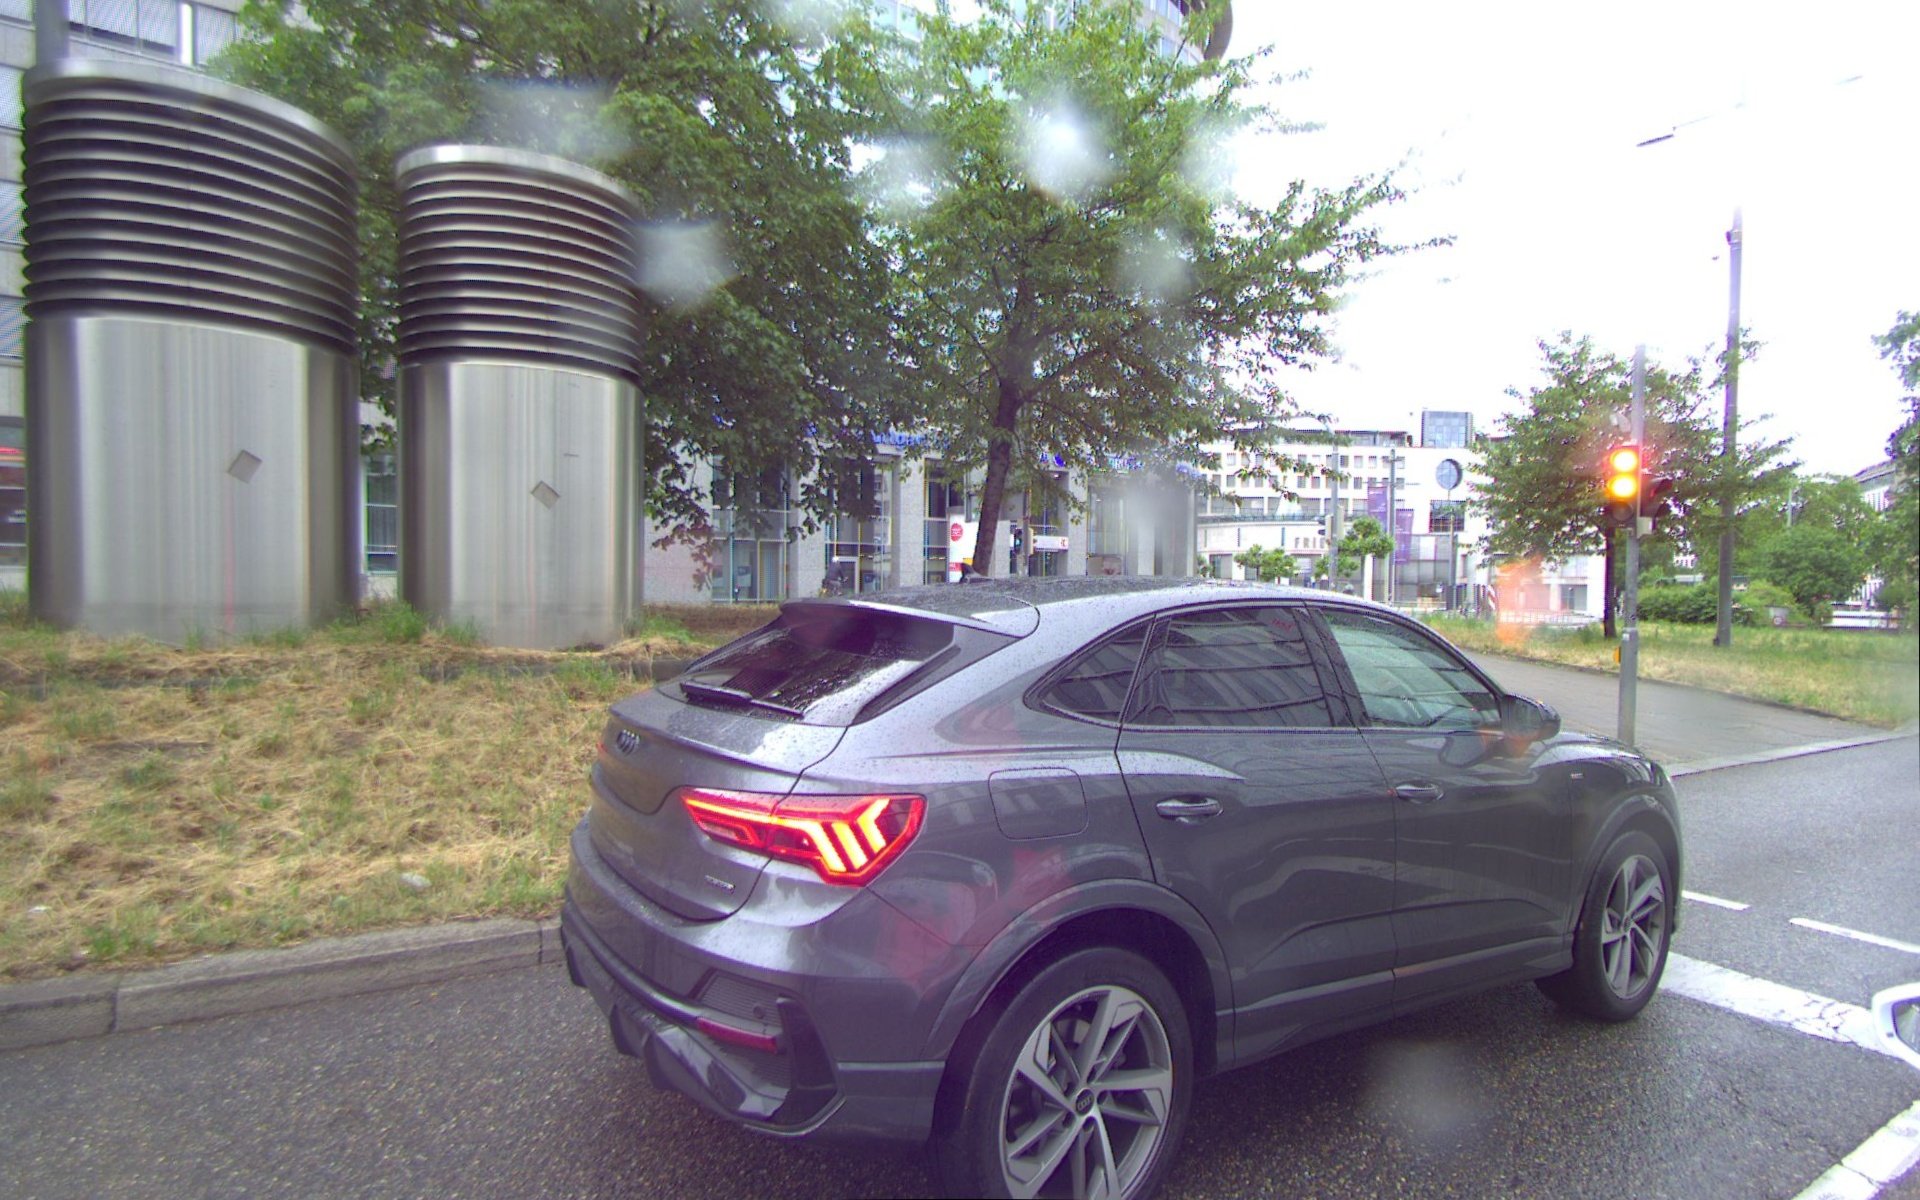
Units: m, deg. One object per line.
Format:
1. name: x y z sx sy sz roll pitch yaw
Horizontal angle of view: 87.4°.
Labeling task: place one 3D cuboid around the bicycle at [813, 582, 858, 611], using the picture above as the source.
1. bicycle: -4.488 -0.116 36.305 0.732 1.020 1.933 1 0 24

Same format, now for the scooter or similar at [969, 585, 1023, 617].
1. scooter or similar: 1.480 0.037 41.307 2.226 1.229 0.767 1 1 -38

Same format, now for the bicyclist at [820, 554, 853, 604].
1. bicyclist: -4.455 -0.746 36.344 0.725 1.764 1.041 1 0 24

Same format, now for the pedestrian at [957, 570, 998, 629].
1. pedestrian: 0.569 -0.012 33.462 0.946 1.906 0.927 2 0 44

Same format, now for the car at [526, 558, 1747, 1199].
1. car: 0.895 0.721 3.674 4.299 1.538 1.849 1 1 -34

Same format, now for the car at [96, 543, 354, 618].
1. car: -15.470 -0.380 21.346 4.282 1.404 1.662 1 3 -38

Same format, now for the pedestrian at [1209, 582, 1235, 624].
1. pedestrian: 12.978 0.137 49.722 0.840 2.040 1.029 2 0 43

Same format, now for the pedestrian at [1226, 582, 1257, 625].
1. pedestrian: 13.754 0.157 49.085 1.041 2.040 1.029 2 0 44
